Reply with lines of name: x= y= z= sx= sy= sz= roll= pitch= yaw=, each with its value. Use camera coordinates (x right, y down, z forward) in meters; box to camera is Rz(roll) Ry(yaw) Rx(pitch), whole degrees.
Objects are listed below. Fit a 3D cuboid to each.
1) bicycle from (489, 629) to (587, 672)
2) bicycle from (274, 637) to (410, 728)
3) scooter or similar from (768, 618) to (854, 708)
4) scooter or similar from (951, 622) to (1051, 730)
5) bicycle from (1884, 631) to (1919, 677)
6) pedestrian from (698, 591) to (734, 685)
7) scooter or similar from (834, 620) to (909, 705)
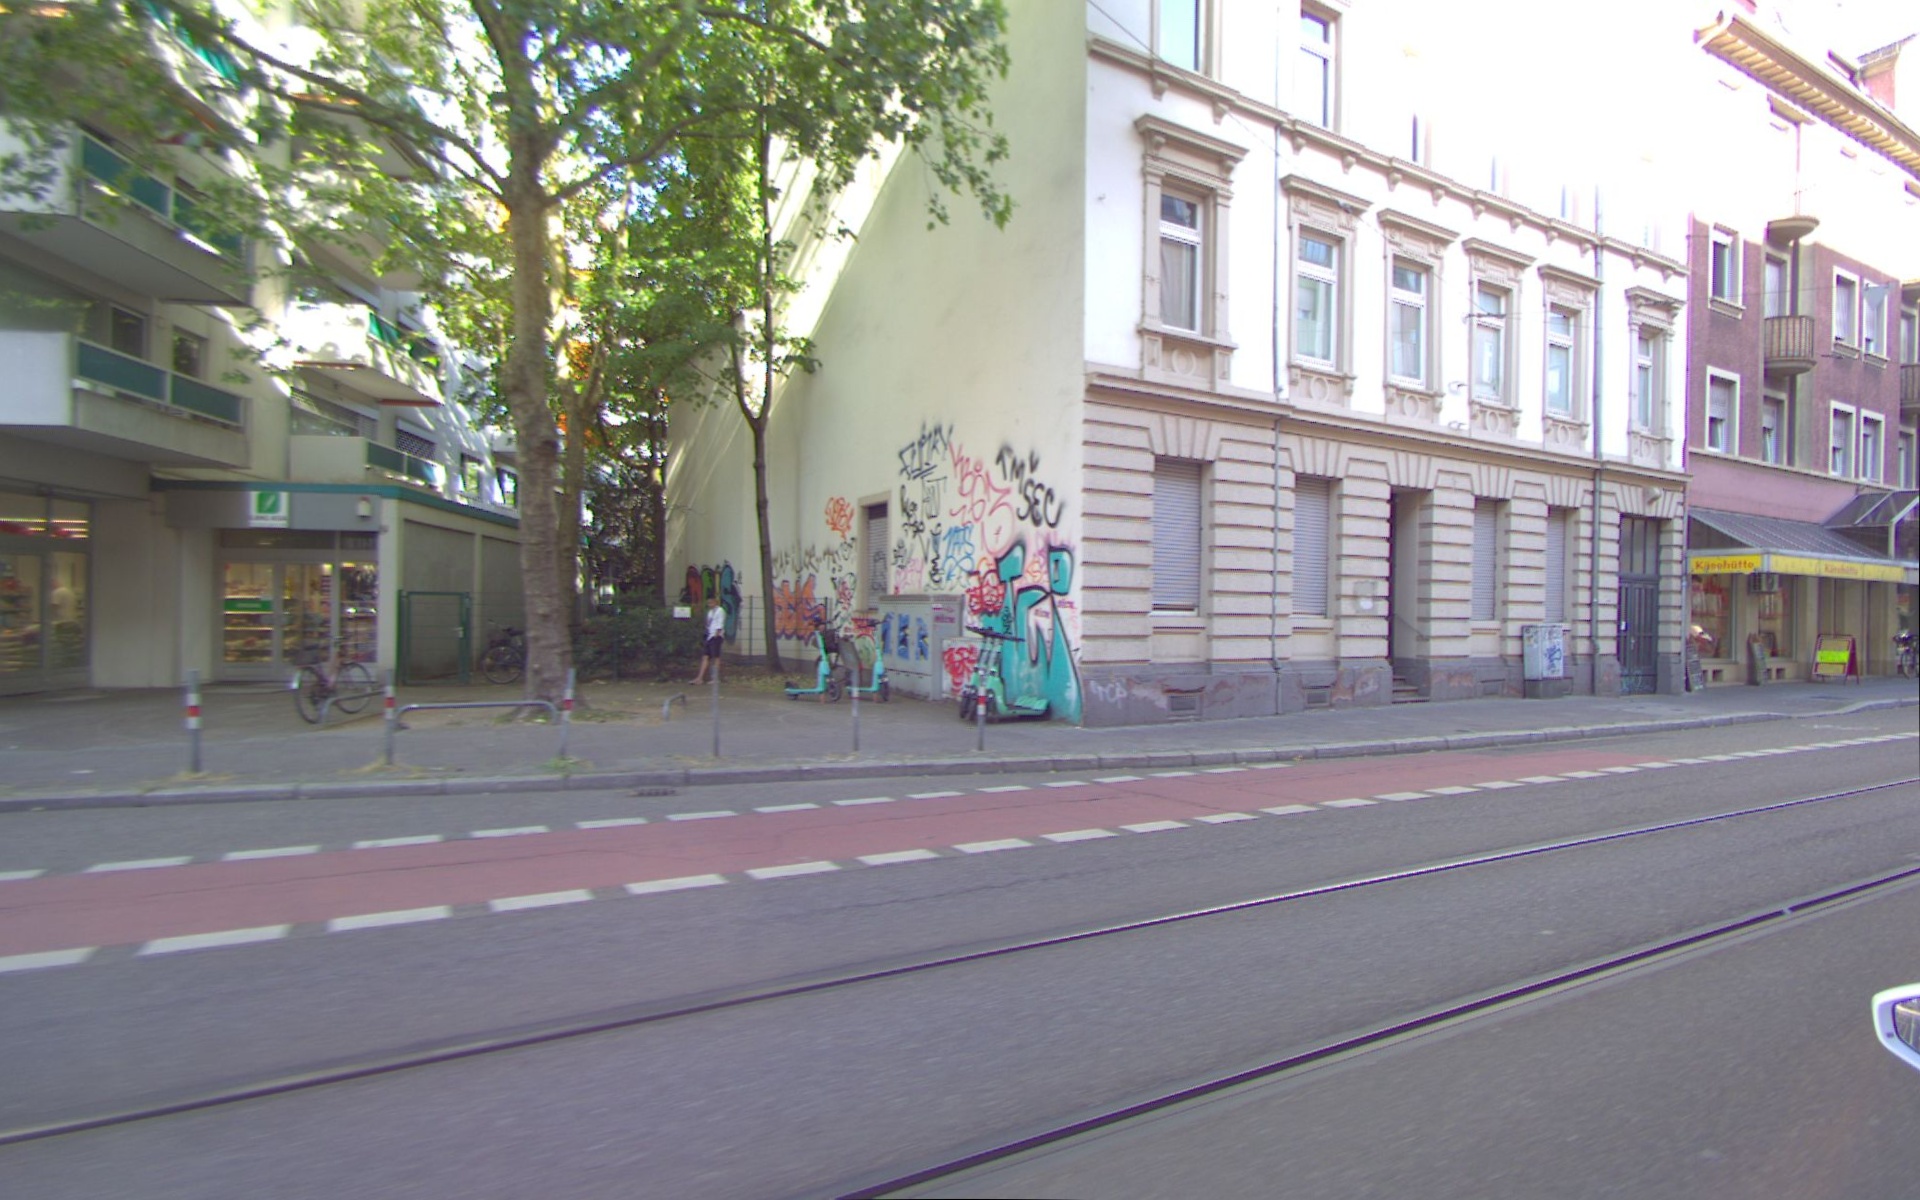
bicycle: x=-9.304 y=1.114 z=22.201 sx=1.951 sy=0.925 sz=0.503 roll=1 pitch=-1 yaw=-17
bicycle: x=-7.940 y=1.027 z=13.017 sx=0.652 sy=1.048 sz=1.921 roll=1 pitch=-1 yaw=-3
scooter or similar: x=-2.257 y=0.917 z=15.148 sx=0.762 sy=1.274 sz=1.217 roll=0 pitch=0 yaw=-42
scooter or similar: x=0.533 y=0.966 z=13.202 sx=1.062 sy=1.289 sz=0.784 roll=-1 pitch=3 yaw=-31
bicycle: x=25.142 y=1.417 z=26.780 sx=2.051 sy=1.175 sz=0.615 roll=1 pitch=-1 yaw=-44
pedestrian: x=-4.629 y=0.715 z=19.075 sx=0.541 sy=1.741 sz=0.453 roll=1 pitch=-1 yaw=-31
scooter or similar: x=-1.367 y=0.940 z=15.449 sx=0.762 sy=1.238 sz=0.929 roll=0 pitch=0 yaw=-42
